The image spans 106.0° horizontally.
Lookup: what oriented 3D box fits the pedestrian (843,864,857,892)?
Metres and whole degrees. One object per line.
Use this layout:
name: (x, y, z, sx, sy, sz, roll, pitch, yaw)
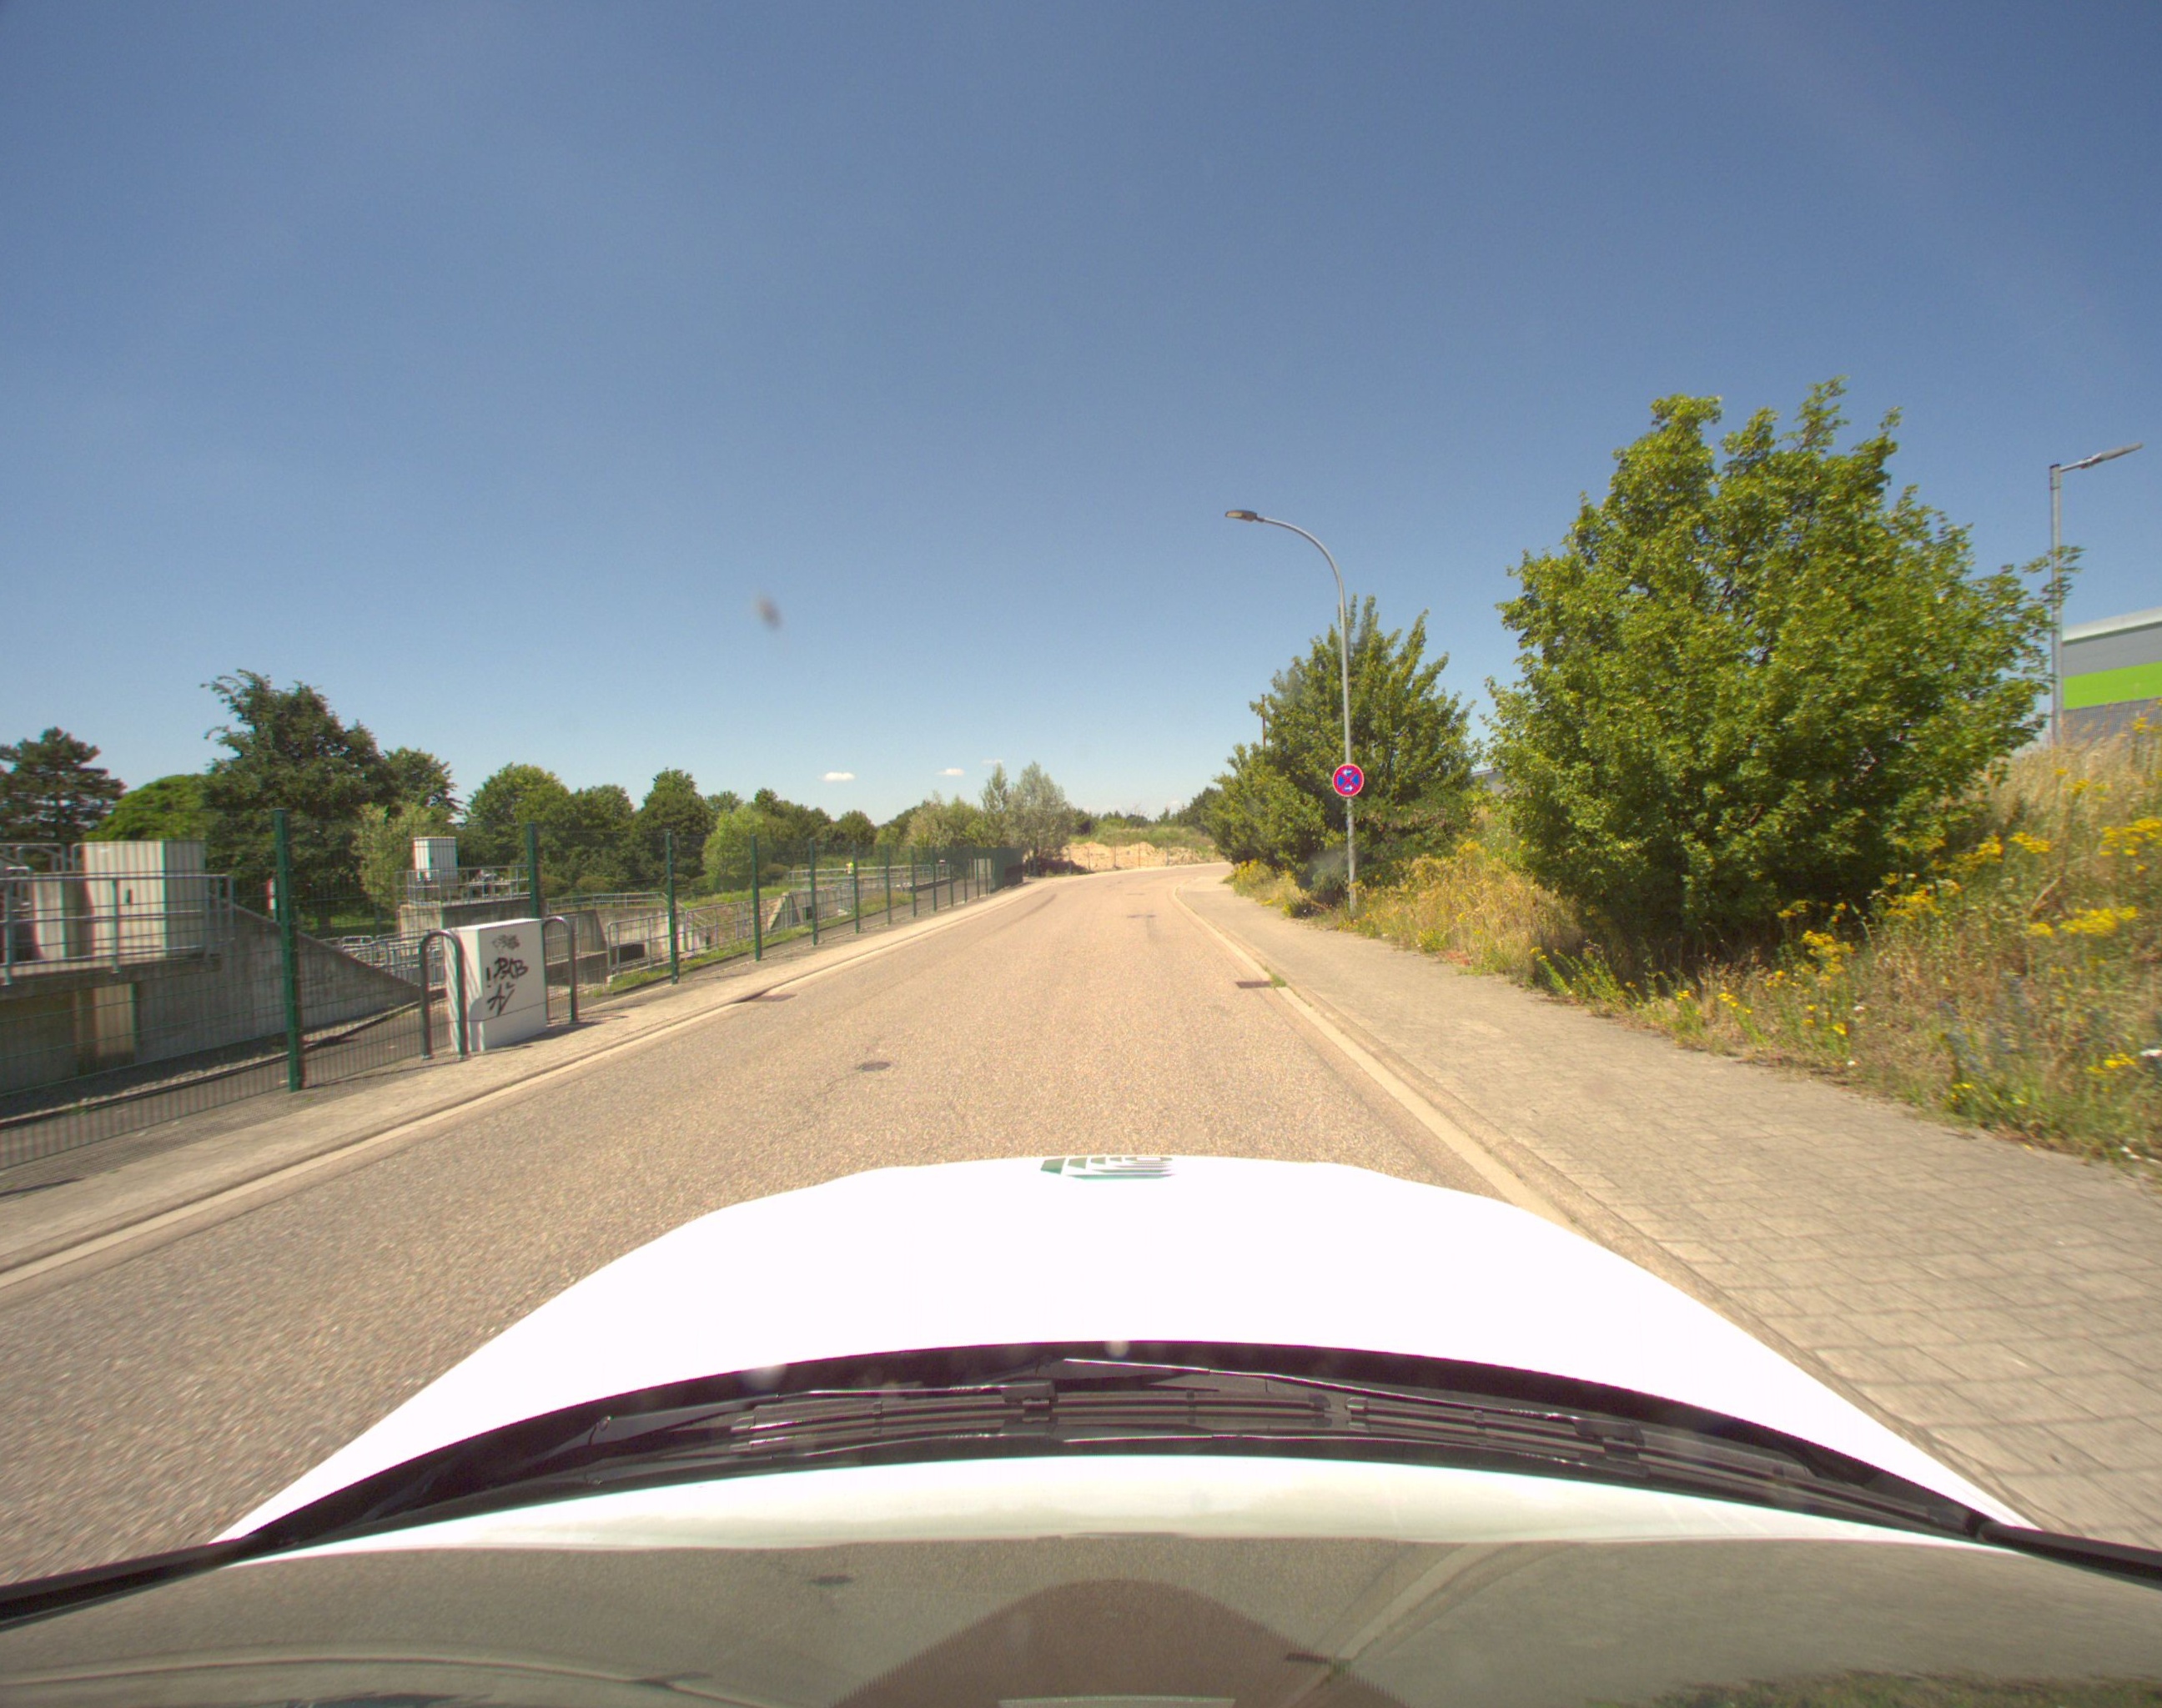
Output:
pedestrian: (-15.727, 1.638, 55.489, 0.603, 1.839, 0.805, -3, 1, 2)
